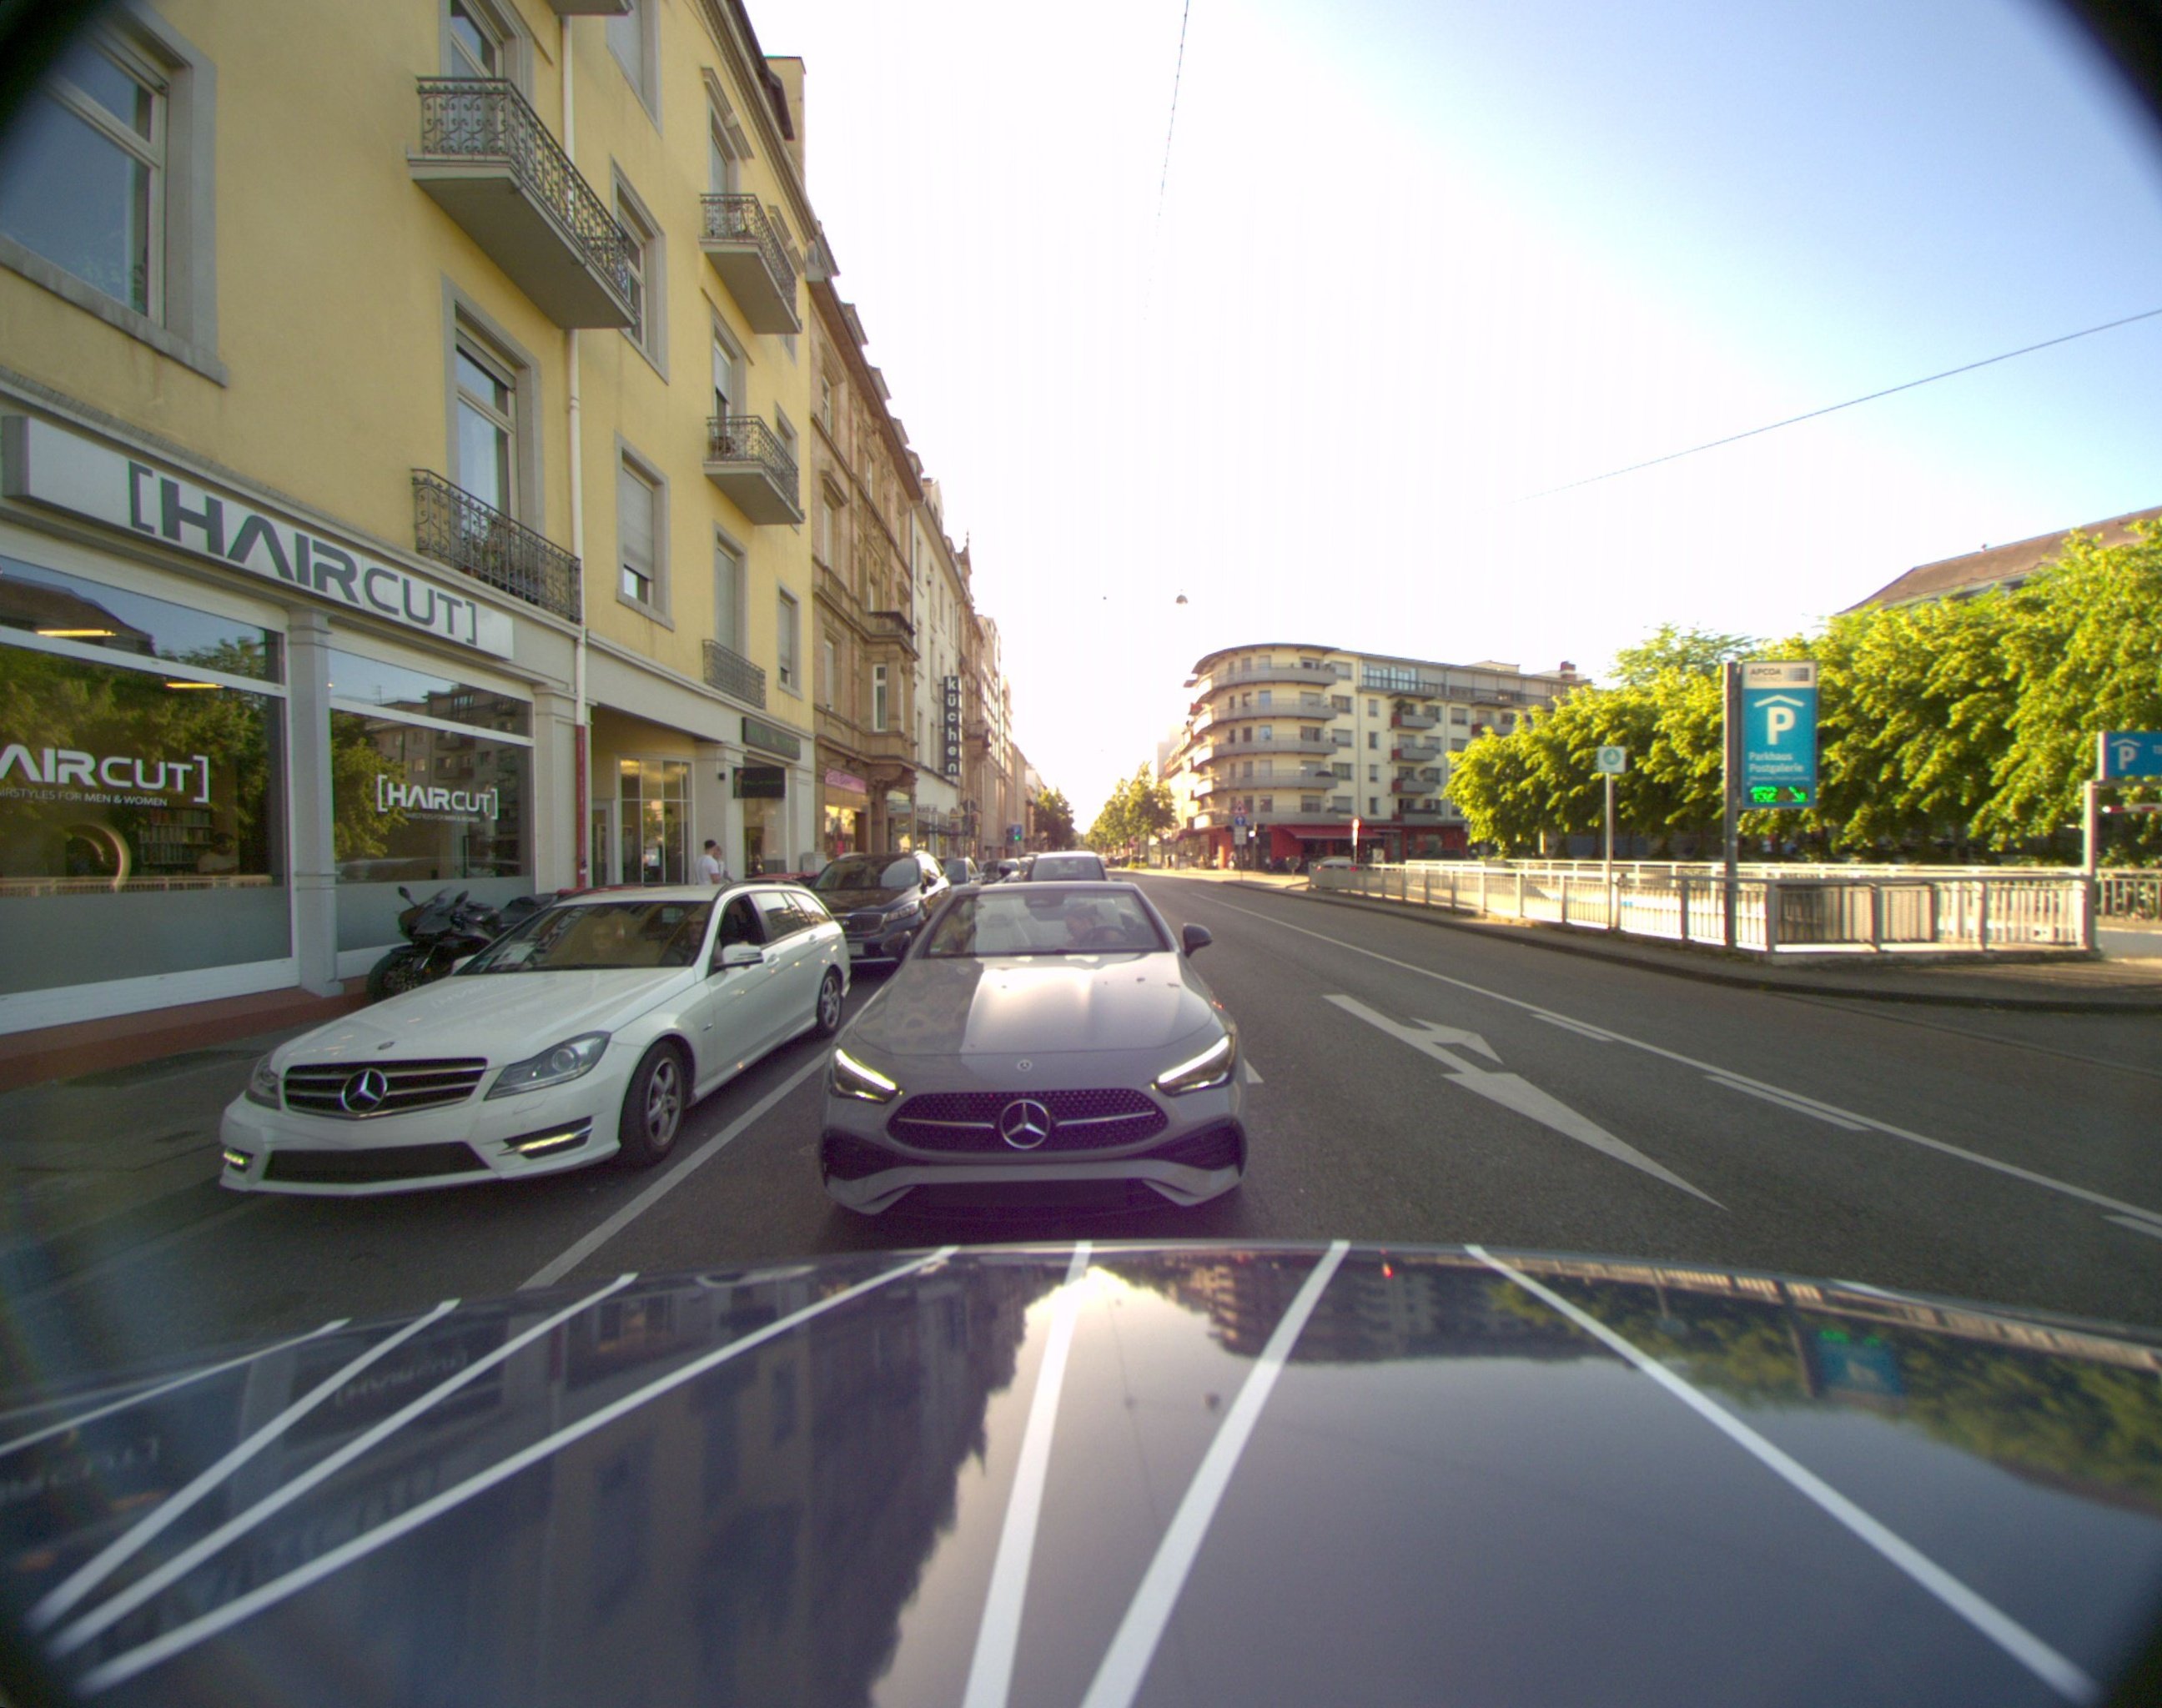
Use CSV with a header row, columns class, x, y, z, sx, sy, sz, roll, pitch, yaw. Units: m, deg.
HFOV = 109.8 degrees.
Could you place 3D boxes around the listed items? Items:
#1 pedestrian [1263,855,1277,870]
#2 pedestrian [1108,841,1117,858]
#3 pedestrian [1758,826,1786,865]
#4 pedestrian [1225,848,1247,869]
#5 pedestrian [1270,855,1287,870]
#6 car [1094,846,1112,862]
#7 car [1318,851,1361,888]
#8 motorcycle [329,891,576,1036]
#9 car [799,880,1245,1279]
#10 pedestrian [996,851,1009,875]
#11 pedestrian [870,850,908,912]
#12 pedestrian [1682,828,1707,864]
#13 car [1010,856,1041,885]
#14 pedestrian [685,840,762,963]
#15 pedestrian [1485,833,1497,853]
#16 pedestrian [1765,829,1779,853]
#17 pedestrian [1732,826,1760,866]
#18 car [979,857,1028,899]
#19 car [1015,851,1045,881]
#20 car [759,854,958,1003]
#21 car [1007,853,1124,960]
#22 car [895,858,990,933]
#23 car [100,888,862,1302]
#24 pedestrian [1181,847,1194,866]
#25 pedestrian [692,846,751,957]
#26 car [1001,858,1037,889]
class,x,y,z,sx,sy,sz,roll,pitch,yaw
pedestrian,14.913,0.669,60.027,0.780,1.191,0.884,-2,1,-10
pedestrian,4.497,-0.647,107.788,1.117,2.328,1.029,-2,1,1
pedestrian,33.373,-0.421,36.684,0.748,1.832,0.683,-2,1,-13
pedestrian,12.503,0.356,61.182,1.141,1.656,1.270,-3,1,-28
pedestrian,15.419,0.657,59.369,0.937,1.191,0.832,-3,1,-24
car,2.635,-0.036,91.735,1.836,1.831,3.886,1,1,-2
car,11.612,0.651,34.329,1.673,1.521,4.255,0,0,16
motorcycle,-6.262,1.023,7.776,0.735,1.124,2.109,2,1,1
car,-0.288,0.997,5.346,1.769,1.360,4.471,-2,1,-2
pedestrian,-5.800,0.634,56.168,0.826,1.750,0.823,-2,1,-1
pedestrian,-5.475,0.762,21.723,0.837,1.709,0.819,-2,1,-4
pedestrian,31.856,-0.405,39.462,0.748,1.832,0.683,-3,1,-21
car,-2.951,0.867,40.937,1.461,1.391,3.363,-2,1,-1
pedestrian,-5.706,0.729,12.137,0.975,1.866,0.534,-3,1,-31
pedestrian,38.352,-0.992,71.096,0.747,1.832,0.684,-2,1,1
pedestrian,46.205,-0.841,50.786,0.494,1.570,0.493,-3,1,-24
pedestrian,32.218,-0.388,36.793,0.748,1.852,0.683,-2,1,-13
car,-3.034,0.903,30.300,1.695,1.482,3.796,-2,1,-3
car,-3.162,0.718,47.535,1.695,1.670,3.880,-2,1,-3
car,-3.020,0.890,11.326,1.806,1.680,4.408,-2,1,-3
car,-0.315,0.867,14.943,1.866,1.658,4.706,-2,1,-2
car,-3.189,0.905,17.977,1.583,1.514,2.998,-2,1,1
car,-3.033,1.072,5.235,1.672,1.364,4.377,-2,1,1
pedestrian,10.172,0.259,72.855,1.060,1.739,0.962,-2,1,1
pedestrian,-6.156,0.794,13.048,0.630,1.826,0.770,-2,1,-7
car,-2.963,0.901,36.669,1.461,1.310,3.363,-2,1,-1
